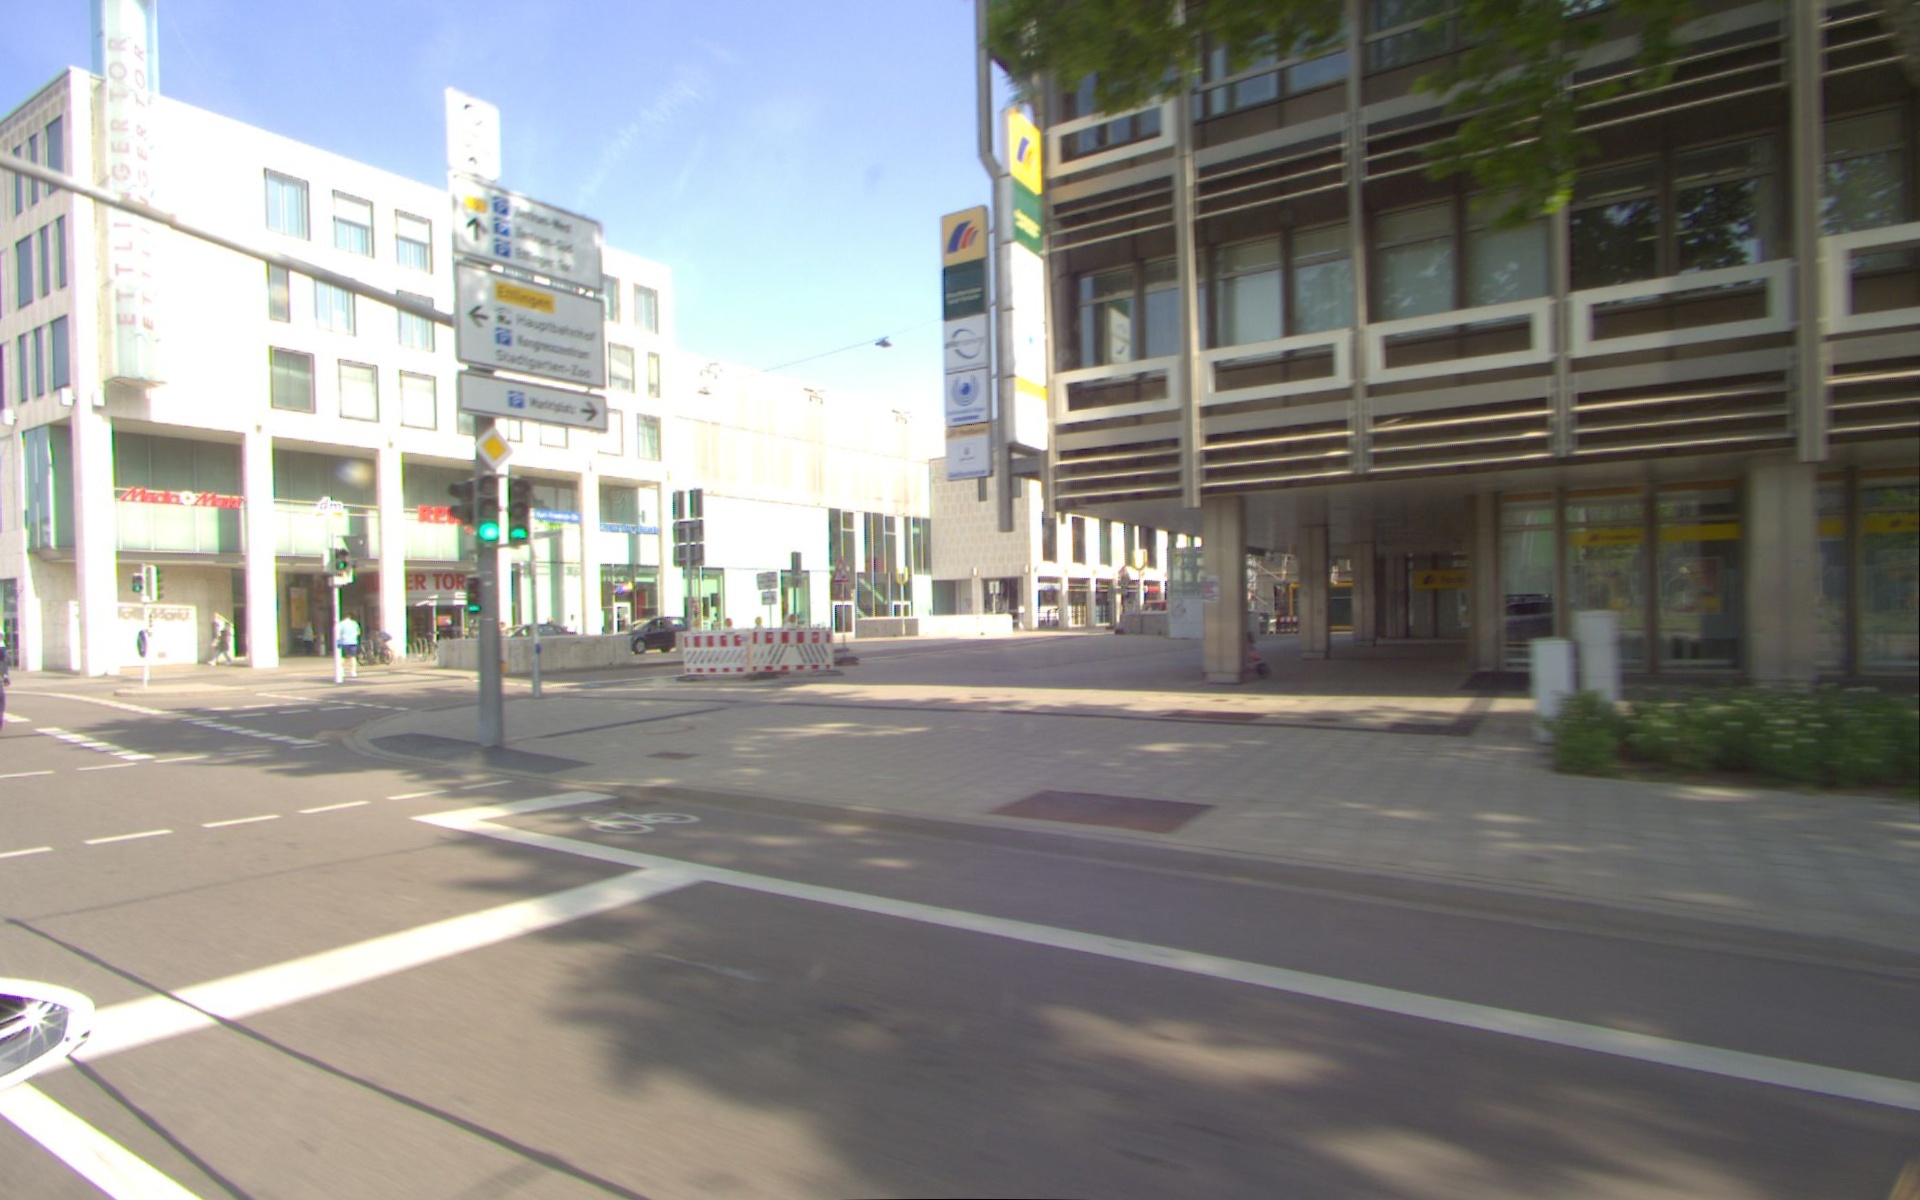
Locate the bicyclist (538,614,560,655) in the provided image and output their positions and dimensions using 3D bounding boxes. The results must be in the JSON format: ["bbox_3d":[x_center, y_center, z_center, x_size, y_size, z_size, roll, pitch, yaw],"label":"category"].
[{"bbox_3d":[-17.502,1.464,42.650,0.574,1.761,0.633,-1,0,32],"label":"bicyclist"}]

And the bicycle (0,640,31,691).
[{"bbox_3d":[-22.094,1.489,22.990,2.023,1.132,0.659,-1,0,34],"label":"bicycle"}]

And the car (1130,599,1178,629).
[{"bbox_3d":[17.044,1.295,87.717,2.393,2.440,4.982,-2,-3,34],"label":"car"}]

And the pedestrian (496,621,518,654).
[{"bbox_3d":[-20.859,1.716,46.142,0.724,1.505,0.602,-1,0,1],"label":"pedestrian"}]

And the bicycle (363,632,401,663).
[{"bbox_3d":[-23.496,1.917,40.689,1.766,1.215,0.499,-1,0,31],"label":"bicycle"}]

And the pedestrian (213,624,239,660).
[{"bbox_3d":[-31.137,1.793,42.498,0.596,1.507,0.706,-1,0,34],"label":"pedestrian"}]

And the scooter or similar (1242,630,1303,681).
[{"bbox_3d":[5.331,0.943,17.113,0.945,0.854,0.278,-1,0,32],"label":"scooter or similar"}]

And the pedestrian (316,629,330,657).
[{"bbox_3d":[-31.043,2.096,48.813,0.449,1.358,0.391,-1,0,31],"label":"pedestrian"}]

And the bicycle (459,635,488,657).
[{"bbox_3d":[-21.718,2.035,44.662,1.834,0.969,0.456,-2,-1,41],"label":"bicycle"}]

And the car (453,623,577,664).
[{"bbox_3d":[-16.839,1.641,38.018,1.853,1.384,3.881,-2,-1,35],"label":"car"}]

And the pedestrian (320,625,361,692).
[{"bbox_3d":[-16.422,1.532,26.546,0.978,1.733,0.640,-1,0,40],"label":"pedestrian"}]

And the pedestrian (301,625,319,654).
[{"bbox_3d":[-31.991,1.953,49.274,0.485,1.402,0.563,-1,0,26],"label":"pedestrian"}]

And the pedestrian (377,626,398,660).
[{"bbox_3d":[-23.578,1.768,41.214,0.539,1.374,0.511,-1,0,25],"label":"pedestrian"}]

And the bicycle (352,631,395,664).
[{"bbox_3d":[-23.288,1.889,39.762,2.041,1.253,0.611,-2,0,34],"label":"bicycle"}]

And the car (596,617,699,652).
[{"bbox_3d":[-13.352,1.463,42.992,1.854,1.421,3.889,-2,-1,36],"label":"car"}]

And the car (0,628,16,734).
[{"bbox_3d":[-15.172,1.137,14.336,4.062,1.454,1.755,-1,-2,37],"label":"car"}]

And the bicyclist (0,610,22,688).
[{"bbox_3d":[-22.083,1.118,22.972,0.759,1.772,0.649,-1,0,34],"label":"bicyclist"}]
